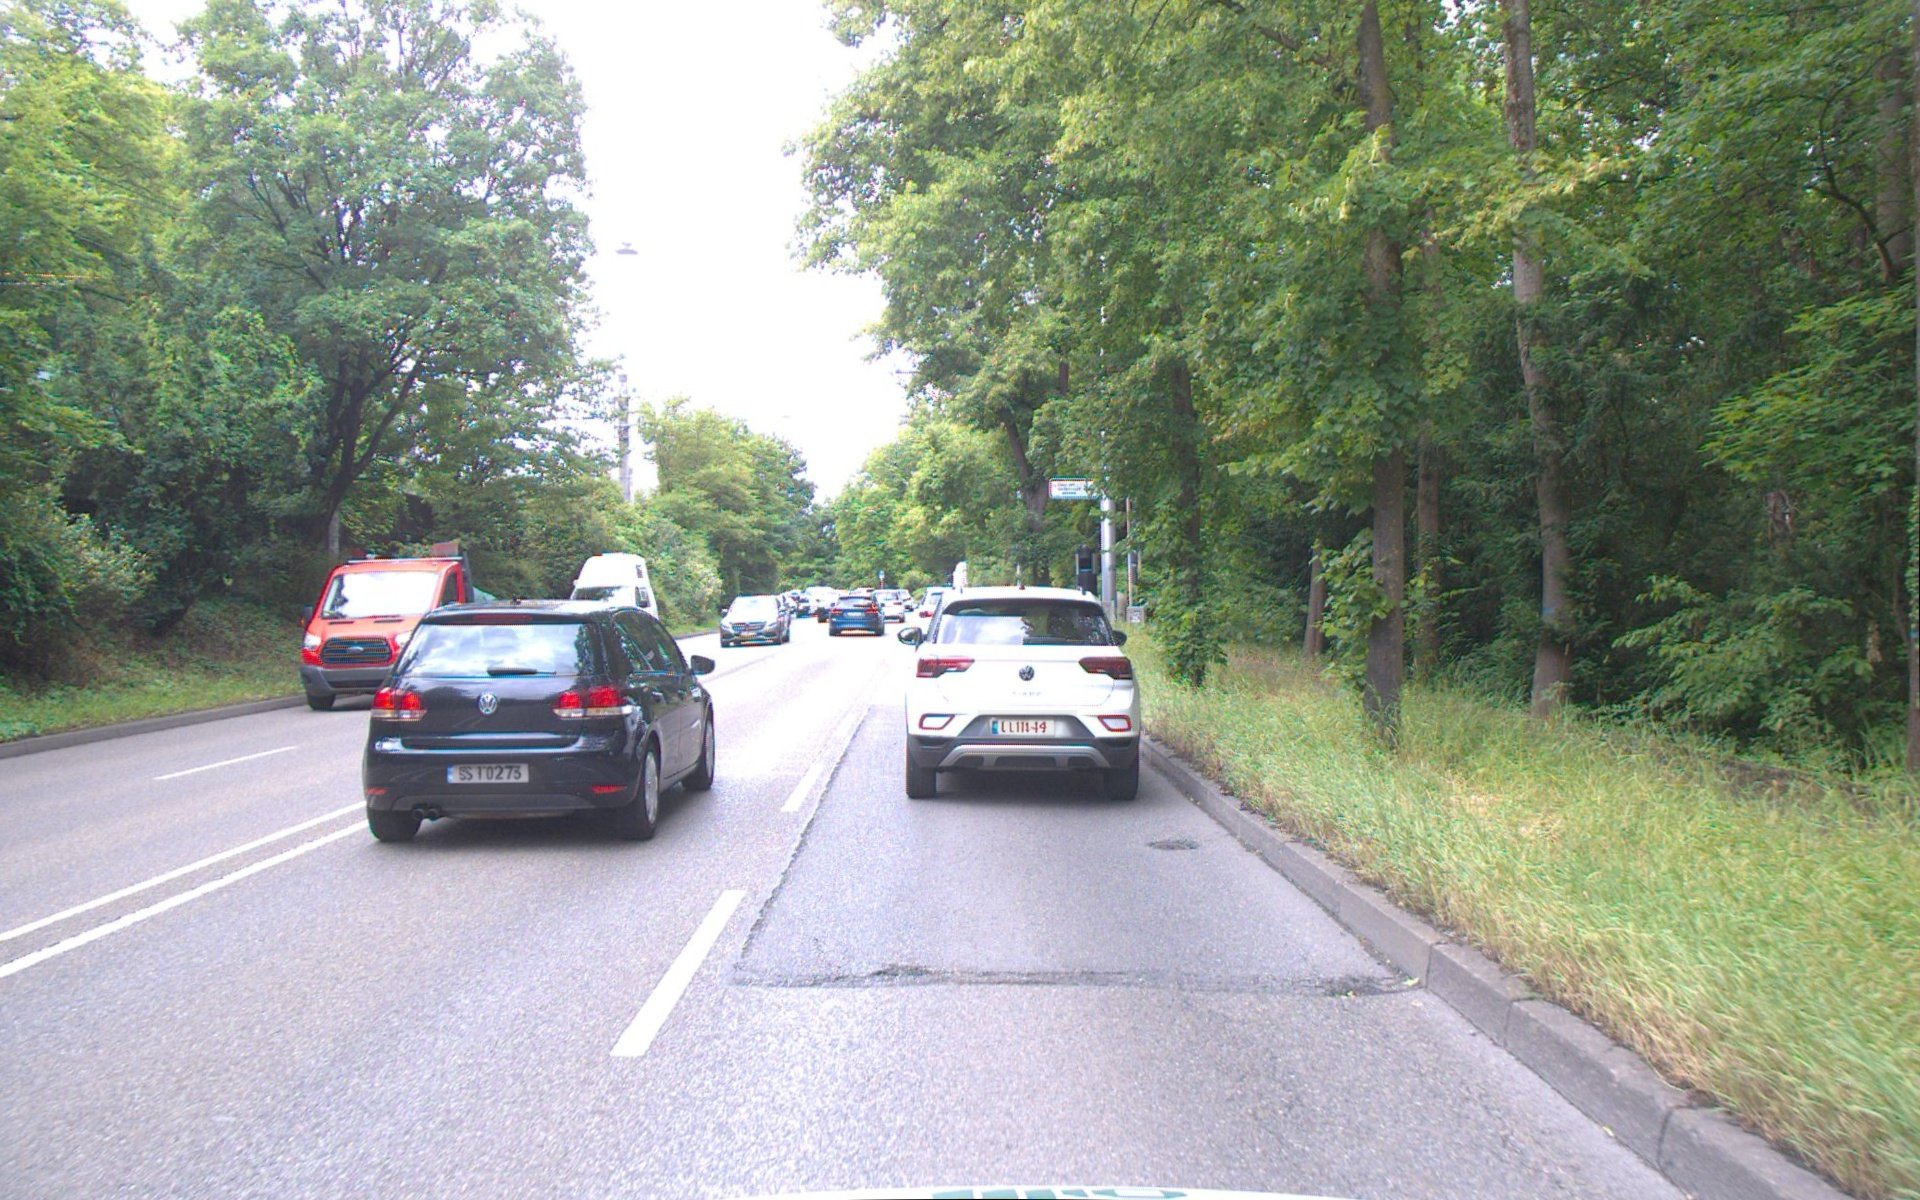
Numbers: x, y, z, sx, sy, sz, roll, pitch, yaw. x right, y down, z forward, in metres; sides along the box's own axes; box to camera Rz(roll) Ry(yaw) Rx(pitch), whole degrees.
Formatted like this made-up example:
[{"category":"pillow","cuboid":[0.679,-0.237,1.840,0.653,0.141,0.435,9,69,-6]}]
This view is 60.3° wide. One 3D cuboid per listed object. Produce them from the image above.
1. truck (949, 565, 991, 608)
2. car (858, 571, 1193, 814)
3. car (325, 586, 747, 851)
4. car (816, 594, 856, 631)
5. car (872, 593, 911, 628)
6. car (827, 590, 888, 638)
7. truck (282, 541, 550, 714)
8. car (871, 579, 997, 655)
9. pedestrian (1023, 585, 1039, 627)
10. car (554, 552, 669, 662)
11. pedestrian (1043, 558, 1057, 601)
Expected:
[{"category":"truck","cuboid":[0.699,-1.013,127.041,2.434,3.237,7.219,0,0,-6]},{"category":"car","cuboid":[0.339,0.628,13.175,1.963,1.624,3.992,0,0,-9]},{"category":"car","cuboid":[-2.649,0.677,11.350,1.910,1.492,3.999,0,0,-1]},{"category":"car","cuboid":[-6.660,0.688,89.102,1.773,1.691,4.828,-2,-3,0]},{"category":"car","cuboid":[-3.329,0.523,80.633,1.784,1.651,3.999,0,0,-1]},{"category":"car","cuboid":[-3.568,0.467,58.168,1.953,1.620,3.999,0,0,-1]},{"category":"truck","cuboid":[-8.611,0.406,26.959,2.132,2.453,6.465,-1,0,1]},{"category":"car","cuboid":[-0.722,0.410,42.303,1.826,1.732,3.973,-4,1,-22]},{"category":"pedestrian","cuboid":[2.926,0.233,68.284,0.597,1.727,0.548,0,0,-4]},{"category":"car","cuboid":[-8.906,0.178,42.672,1.849,2.600,4.914,-2,0,0]},{"category":"pedestrian","cuboid":[3.743,-0.850,68.689,0.509,1.784,0.524,0,0,-4]}]
